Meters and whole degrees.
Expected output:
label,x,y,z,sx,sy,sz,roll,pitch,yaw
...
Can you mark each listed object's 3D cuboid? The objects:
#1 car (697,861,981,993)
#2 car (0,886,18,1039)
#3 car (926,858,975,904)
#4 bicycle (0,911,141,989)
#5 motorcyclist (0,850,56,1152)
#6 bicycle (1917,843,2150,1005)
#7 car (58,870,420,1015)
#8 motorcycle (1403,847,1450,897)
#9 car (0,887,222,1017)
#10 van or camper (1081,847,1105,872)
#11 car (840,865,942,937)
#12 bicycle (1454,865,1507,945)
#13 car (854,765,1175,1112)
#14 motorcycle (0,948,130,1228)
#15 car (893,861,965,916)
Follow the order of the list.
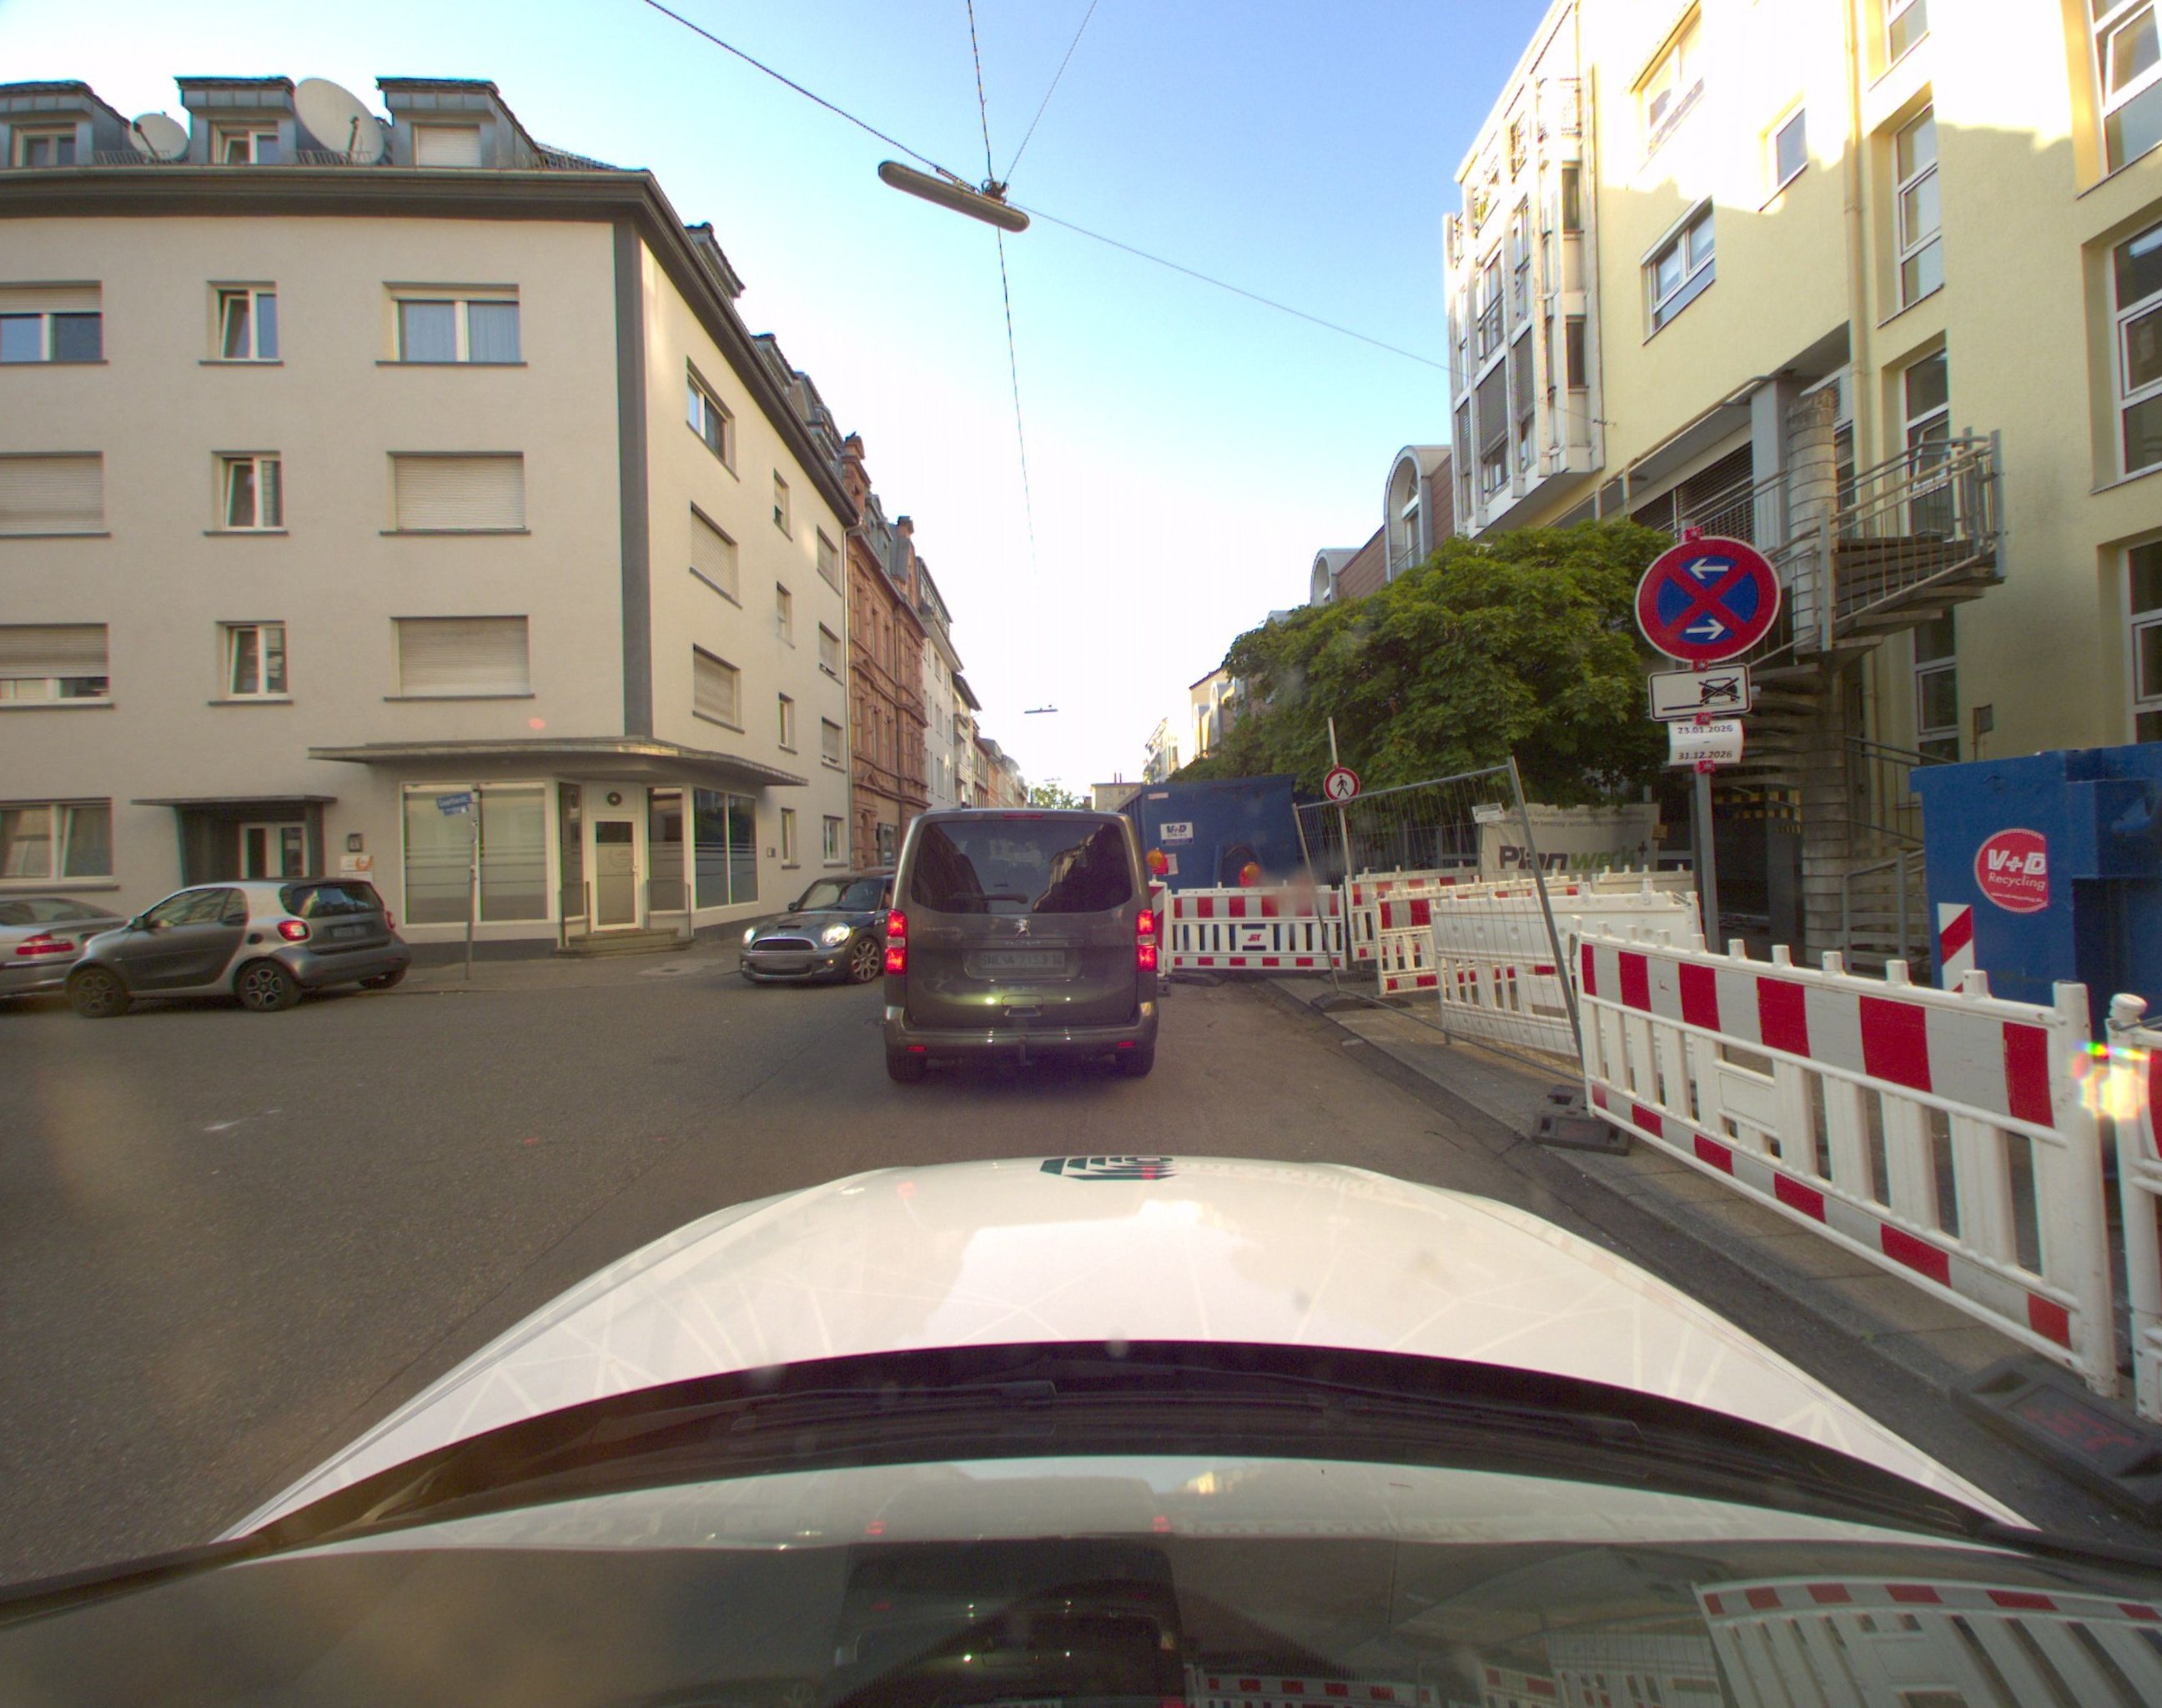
label,x,y,z,sx,sy,sz,roll,pitch,yaw
car,-3.185,0.887,11.677,1.978,1.486,4.018,-1,0,17
car,-12.936,1.114,7.129,4.632,1.486,2.000,-1,0,1
car,-4.941,0.990,31.030,1.392,1.588,2.792,-3,0,-2
bicycle,-16.036,1.485,12.700,2.046,1.137,0.488,0,-1,-4
motorcyclist,-6.141,0.773,4.047,0.991,1.567,0.876,0,1,7
bicycle,7.989,0.547,6.842,1.646,1.268,0.547,0,-1,-12
car,-10.328,1.025,10.170,2.746,1.566,1.648,-1,0,-1
motorcycle,9.197,0.465,21.786,0.863,1.222,2.468,-3,-1,17
car,-14.323,1.235,10.519,4.238,1.453,1.967,-1,0,-2
van or camper,1.258,0.598,90.373,2.094,2.602,7.505,-3,0,-2
car,-4.285,1.002,18.826,1.628,1.430,3.552,-1,0,-2
bicycle,5.680,0.694,11.634,0.562,1.069,1.373,-1,-1,22
car,-0.453,0.515,7.010,1.853,2.013,3.997,-4,0,-2
motorcycle,-5.957,1.145,4.017,1.684,1.249,0.808,0,1,6
car,-4.451,0.971,24.307,1.551,1.508,3.595,1,0,-2
